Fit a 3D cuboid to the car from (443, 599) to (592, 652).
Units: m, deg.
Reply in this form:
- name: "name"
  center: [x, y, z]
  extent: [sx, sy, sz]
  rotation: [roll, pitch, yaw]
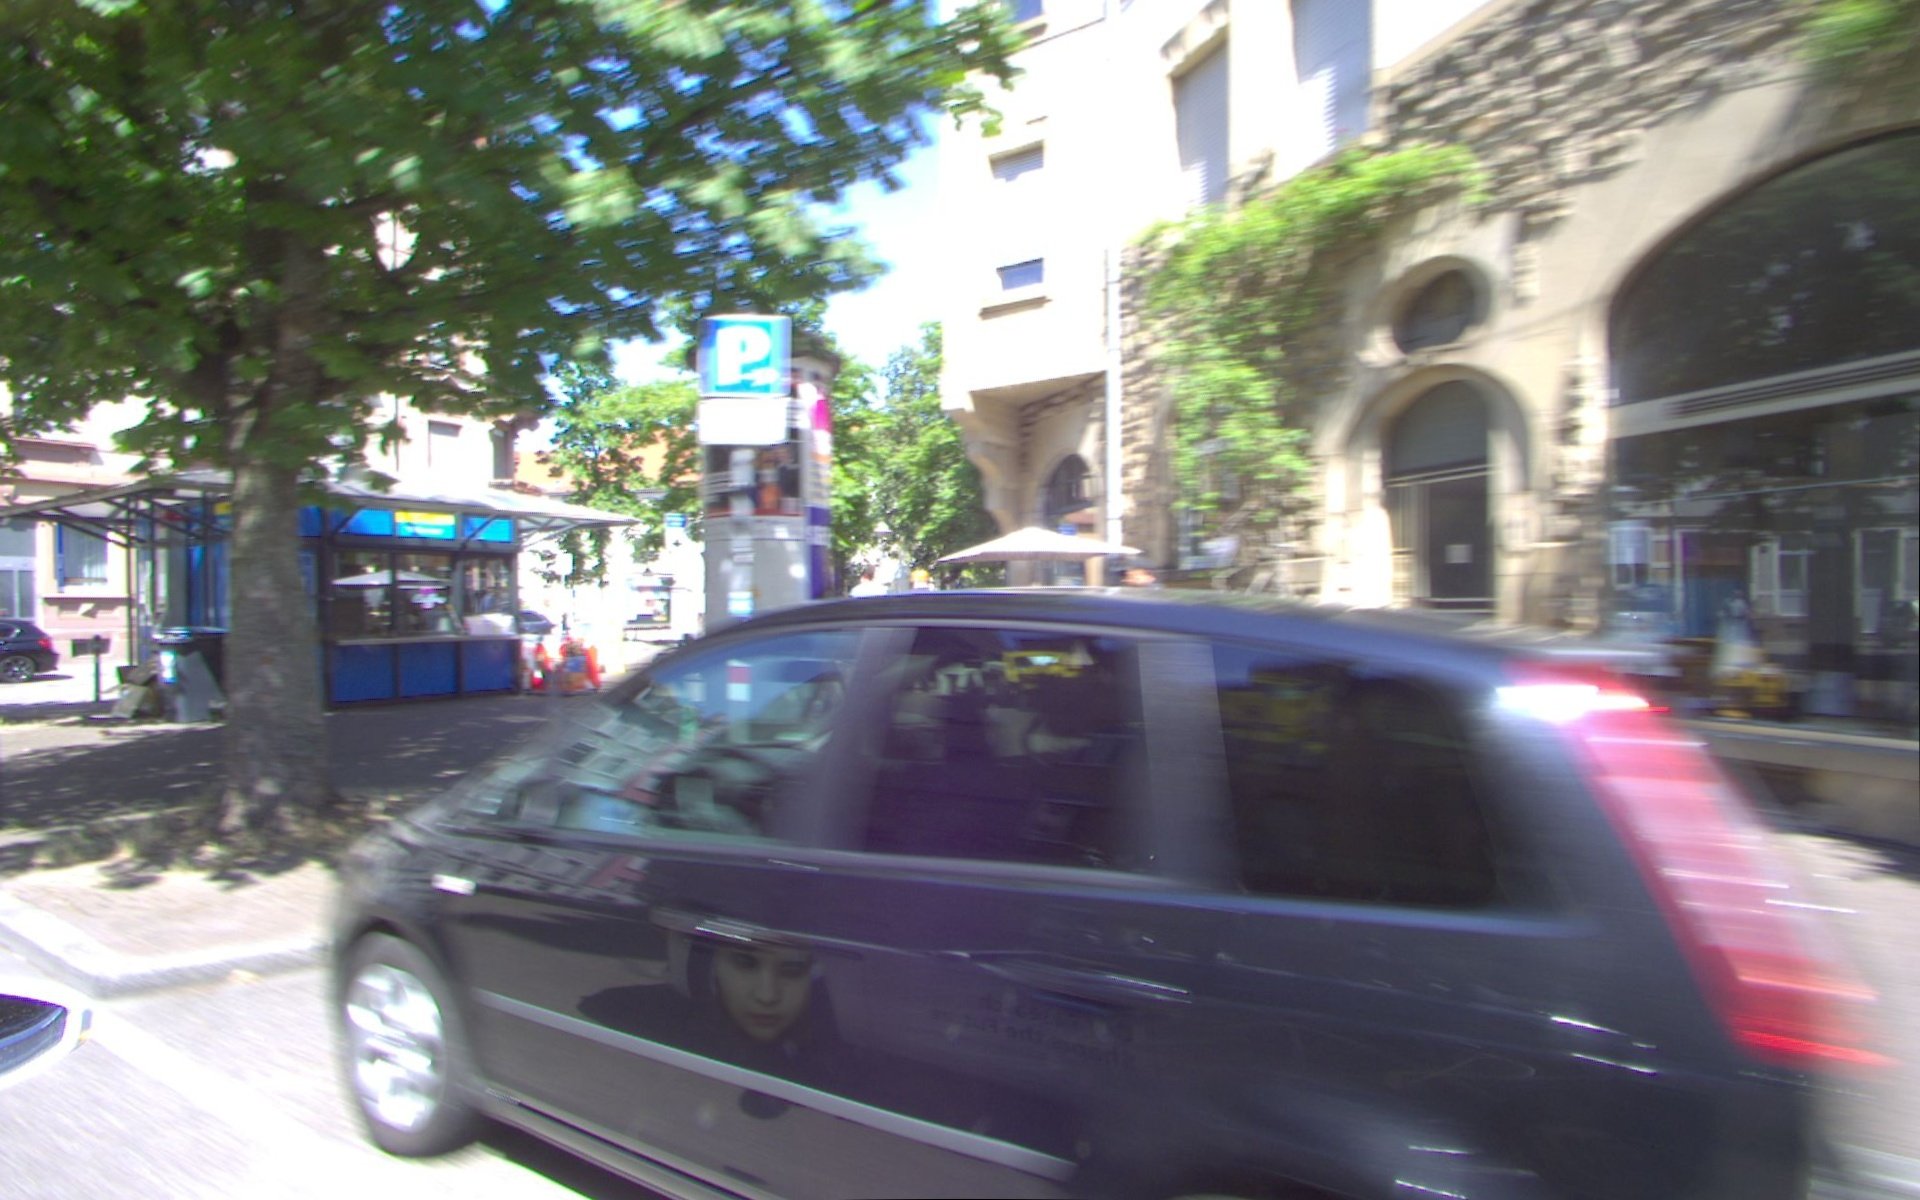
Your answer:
- name: "car"
  center: [-13.877, 0.761, 31.609]
  extent: [1.753, 1.526, 3.977]
  rotation: [-1, 0, 33]

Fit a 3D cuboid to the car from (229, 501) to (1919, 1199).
- name: "car"
  center: [-0.209, 0.723, 2.849]
  extent: [4.119, 1.560, 1.660]
  rotation: [-1, -2, 33]

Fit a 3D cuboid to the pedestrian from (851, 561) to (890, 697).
- name: "pedestrian"
  center: [-1.290, 0.411, 14.354]
  extent: [0.510, 1.893, 0.653]
  rotation: [-1, 0, -7]

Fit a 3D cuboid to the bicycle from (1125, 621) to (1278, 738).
- name: "bicycle"
  center: [2.433, 0.763, 10.312]
  extent: [0.540, 1.053, 1.831]
  rotation: [-1, 1, -23]

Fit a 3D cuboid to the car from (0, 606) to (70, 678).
- name: "car"
  center: [-21.132, 0.893, 20.309]
  extent: [1.781, 1.389, 4.283]
  rotation: [2, 2, 33]

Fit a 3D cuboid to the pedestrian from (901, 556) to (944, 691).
- name: "pedestrian"
  center: [-0.554, 0.342, 14.669]
  extent: [0.589, 1.904, 0.883]
  rotation: [-1, 0, -2]

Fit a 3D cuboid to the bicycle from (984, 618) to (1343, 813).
- name: "bicycle"
  center: [1.399, 0.739, 7.374]
  extent: [2.550, 1.184, 0.789]
  rotation: [-1, 1, 43]

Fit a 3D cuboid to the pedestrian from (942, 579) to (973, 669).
- name: "pedestrian"
  center: [-0.059, 0.489, 20.623]
  extent: [0.572, 1.818, 0.749]
  rotation: [-1, 1, -4]

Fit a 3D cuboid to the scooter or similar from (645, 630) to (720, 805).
- name: "scooter or similar"
  center: [-2.078, 0.822, 7.441]
  extent: [0.436, 1.151, 1.182]
  rotation: [-1, 1, -19]

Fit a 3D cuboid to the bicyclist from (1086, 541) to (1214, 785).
- name: "bicyclist"
  center: [1.390, 0.433, 7.323]
  extent: [0.654, 1.670, 0.674]
  rotation: [0, 1, 42]

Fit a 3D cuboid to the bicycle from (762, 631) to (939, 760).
- name: "bicycle"
  center: [-1.014, 0.864, 9.745]
  extent: [0.625, 1.053, 1.895]
  rotation: [0, 1, 34]
